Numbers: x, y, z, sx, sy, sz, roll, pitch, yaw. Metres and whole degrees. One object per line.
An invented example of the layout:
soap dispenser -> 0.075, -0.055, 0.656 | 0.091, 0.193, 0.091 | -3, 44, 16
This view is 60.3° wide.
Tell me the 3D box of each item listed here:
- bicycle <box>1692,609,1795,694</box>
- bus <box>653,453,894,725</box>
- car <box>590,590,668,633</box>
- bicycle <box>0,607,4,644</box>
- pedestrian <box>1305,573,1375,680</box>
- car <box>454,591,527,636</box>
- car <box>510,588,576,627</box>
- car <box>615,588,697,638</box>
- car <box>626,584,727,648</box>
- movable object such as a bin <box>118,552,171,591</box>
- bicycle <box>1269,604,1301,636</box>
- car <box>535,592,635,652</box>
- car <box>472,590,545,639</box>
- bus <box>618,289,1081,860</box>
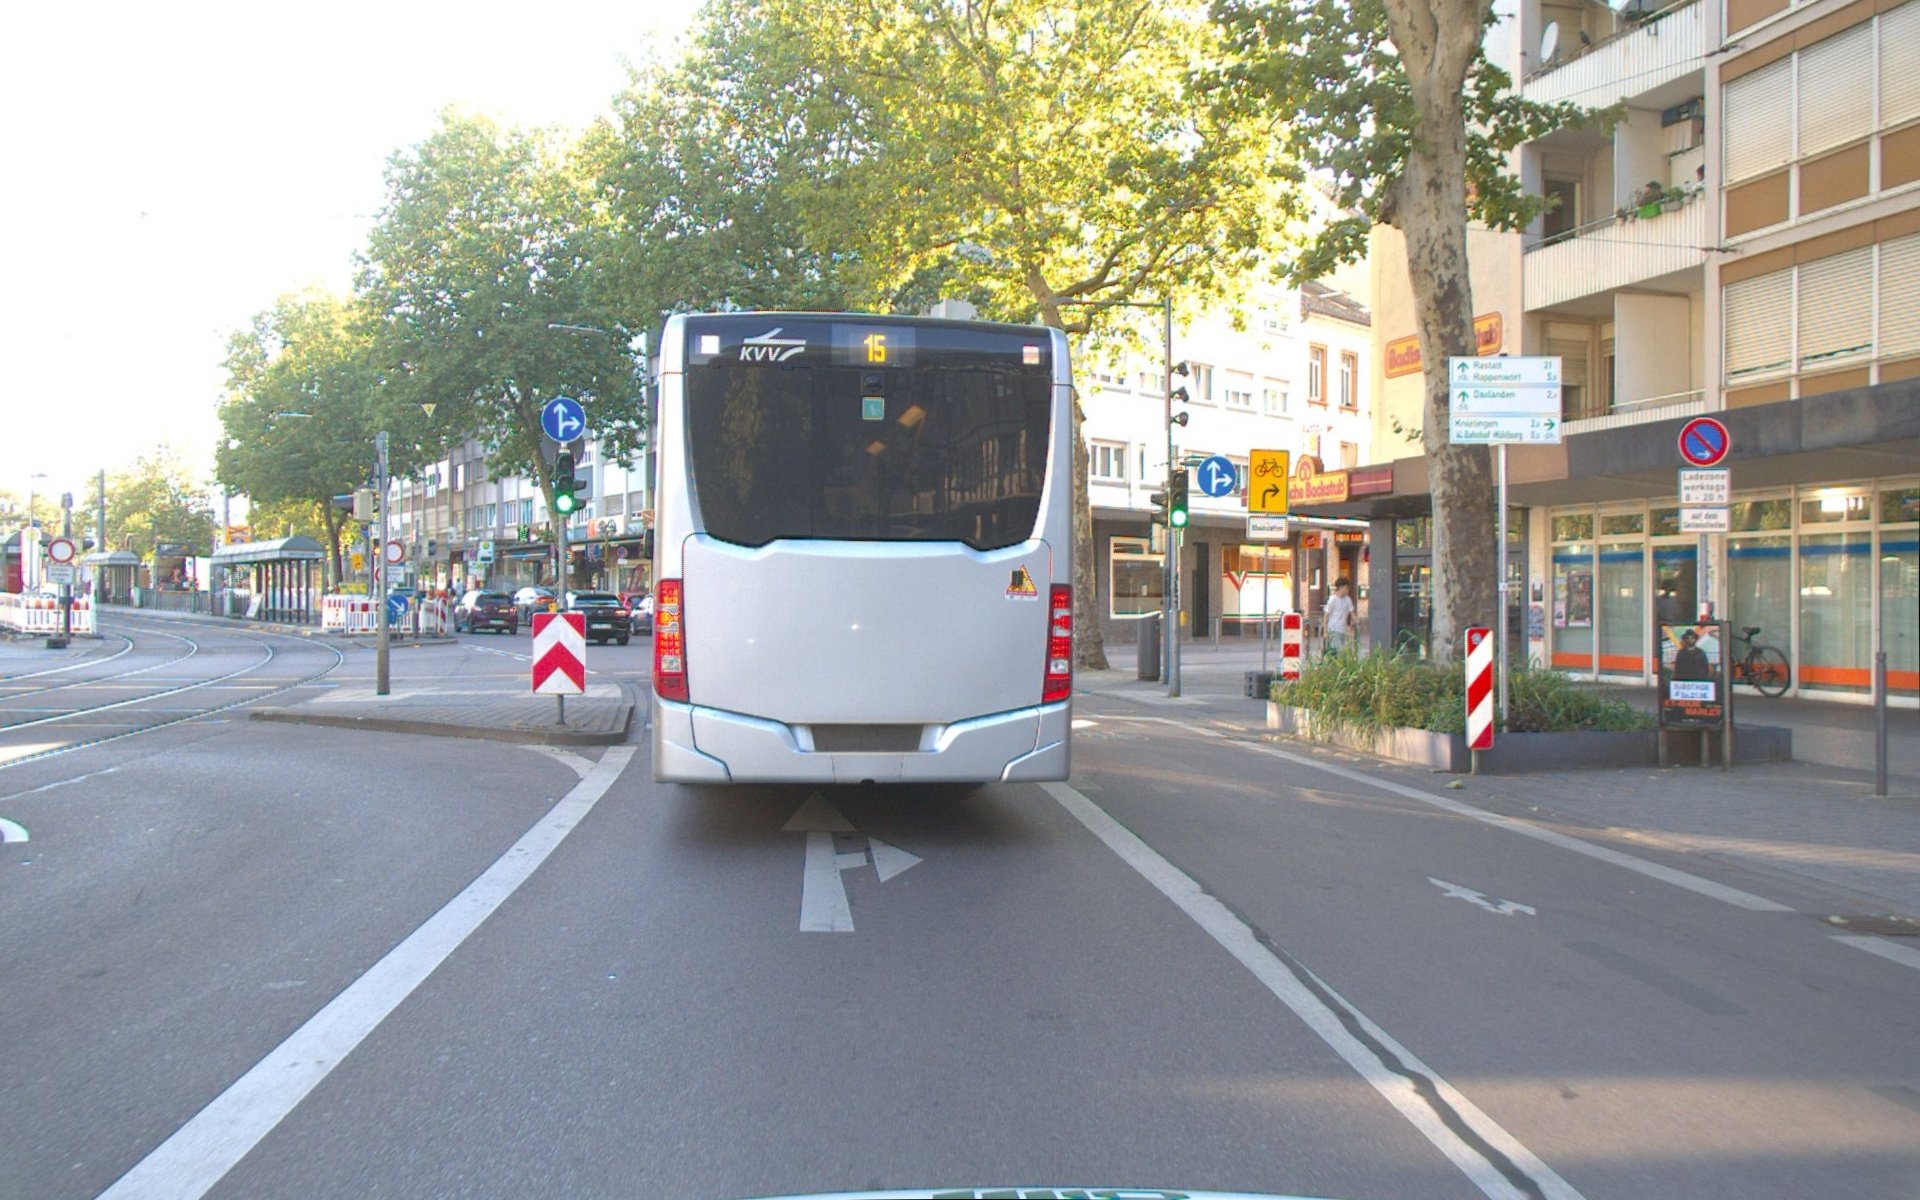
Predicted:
bicycle -> 10.835, 0.697, 22.914 | 0.430, 1.111, 1.456 | -2, 1, -14
bus -> -3.092, -0.113, 24.424 | 2.611, 3.153, 10.185 | 0, 0, -12
car -> -12.157, 0.409, 60.639 | 1.647, 1.419, 3.373 | -4, 2, -33
bicycle -> -25.285, 0.653, 41.899 | 1.826, 0.959, 0.457 | 0, 0, -37
pedestrian -> 6.346, 0.431, 27.675 | 0.822, 1.742, 0.789 | -2, 1, -19
car -> -16.182, 0.437, 56.875 | 1.735, 1.489, 3.966 | 0, 0, -26
car -> -17.210, 0.289, 68.177 | 1.647, 1.494, 3.374 | -4, 2, -32
car -> -10.489, 0.426, 56.943 | 1.646, 1.543, 3.376 | -3, 2, -31
car -> -7.628, 0.402, 44.320 | 1.738, 1.656, 3.582 | 0, 0, -26
movable object such as a bin -> -54.496, -1.858, 110.465 | 2.473, 2.520, 5.289 | 0, 0, -35
bicycle -> 11.205, 0.687, 57.005 | 0.289, 1.059, 1.709 | -3, -2, 40
car -> -9.996, 0.545, 43.857 | 1.735, 1.489, 3.966 | 0, 0, -26
car -> -14.366, 0.423, 52.536 | 1.732, 1.489, 3.971 | 0, 0, -23
bus -> -1.310, -0.130, 14.381 | 2.608, 3.153, 10.196 | 0, 0, -8
